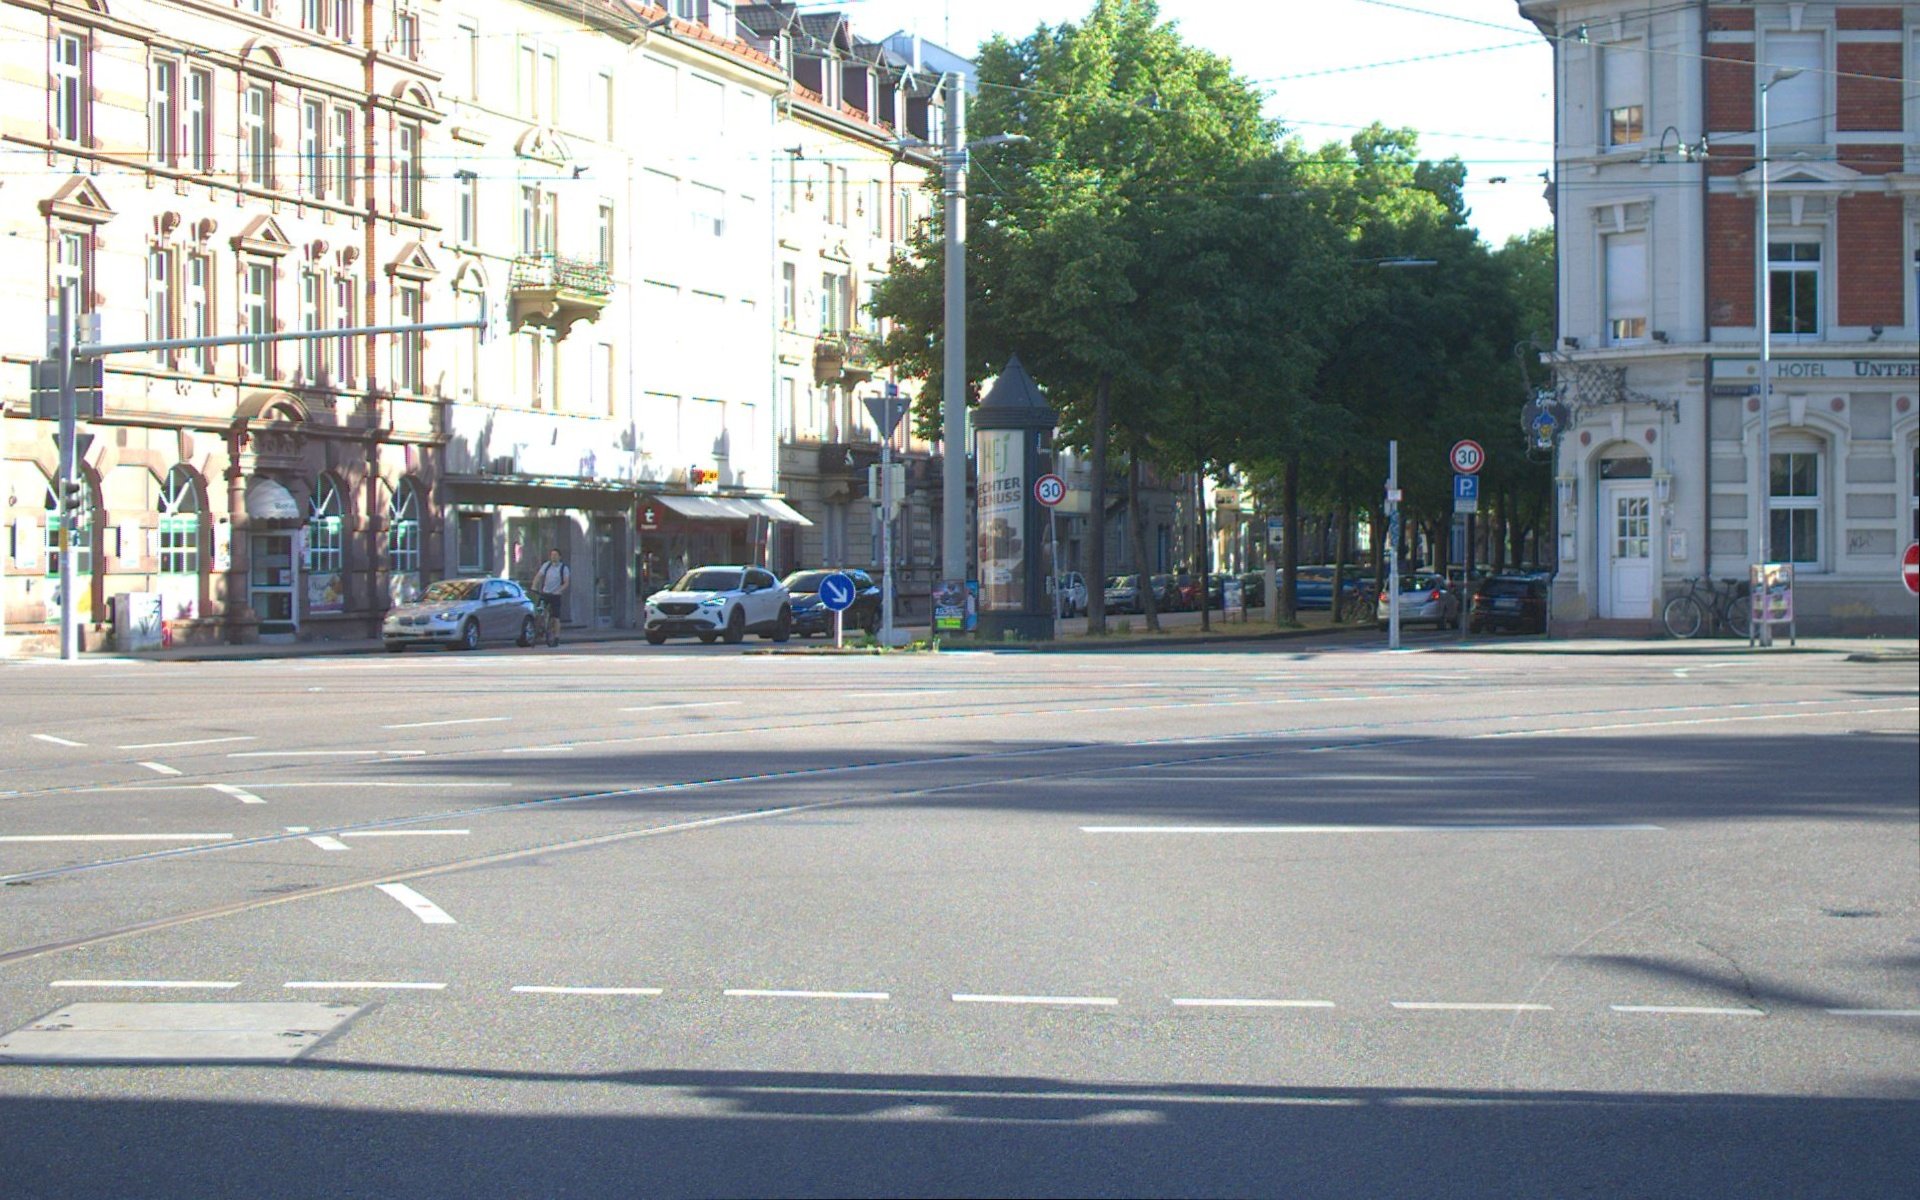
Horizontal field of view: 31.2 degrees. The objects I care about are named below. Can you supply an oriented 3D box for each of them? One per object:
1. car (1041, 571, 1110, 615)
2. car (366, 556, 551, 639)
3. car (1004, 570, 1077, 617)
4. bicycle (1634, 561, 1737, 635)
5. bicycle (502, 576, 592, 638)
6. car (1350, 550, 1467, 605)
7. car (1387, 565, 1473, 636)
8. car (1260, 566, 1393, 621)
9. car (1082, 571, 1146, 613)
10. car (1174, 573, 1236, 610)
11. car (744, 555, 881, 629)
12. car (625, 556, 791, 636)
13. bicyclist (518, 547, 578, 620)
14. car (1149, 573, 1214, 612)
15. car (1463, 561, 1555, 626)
[{"bbox_3d":[3.921,-0.254,115.811,1.741,1.393,4.122,3,1,9],"label":"car"},{"bbox_3d":[-9.776,-0.072,67.385,2.098,1.540,4.361,0,1,14],"label":"car"},{"bbox_3d":[2.597,-0.215,110.007,1.741,1.393,4.122,3,1,9],"label":"car"},{"bbox_3d":[12.063,-0.035,57.140,1.639,1.218,0.606,0,1,16],"label":"bicycle"},{"bbox_3d":[-7.865,0.126,65.634,0.751,1.131,2.808,0,1,14],"label":"bicycle"},{"bbox_3d":[17.408,-0.875,133.430,4.115,1.912,1.744,3,1,21],"label":"car"},{"bbox_3d":[12.037,0.001,87.928,1.675,1.750,3.756,0,1,15],"label":"car"},{"bbox_3d":[12.291,-0.224,115.231,4.113,1.640,1.745,3,1,15],"label":"car"},{"bbox_3d":[5.507,-0.301,122.789,1.741,1.393,4.122,3,1,9],"label":"car"},{"bbox_3d":[9.726,-0.346,136.392,1.742,1.393,4.121,3,1,13],"label":"car"},{"bbox_3d":[-3.128,-0.191,73.538,1.994,1.508,3.998,0,1,12],"label":"car"},{"bbox_3d":[-4.877,-0.104,67.171,2.098,1.494,3.998,0,1,14],"label":"car"},{"bbox_3d":[-7.852,-0.315,65.596,0.794,1.370,1.107,0,1,14],"label":"bicyclist"},{"bbox_3d":[8.508,-0.311,131.613,1.742,1.393,4.121,3,1,13],"label":"car"},{"bbox_3d":[13.168,-0.156,82.292,1.652,1.519,3.750,0,0,17],"label":"car"}]
